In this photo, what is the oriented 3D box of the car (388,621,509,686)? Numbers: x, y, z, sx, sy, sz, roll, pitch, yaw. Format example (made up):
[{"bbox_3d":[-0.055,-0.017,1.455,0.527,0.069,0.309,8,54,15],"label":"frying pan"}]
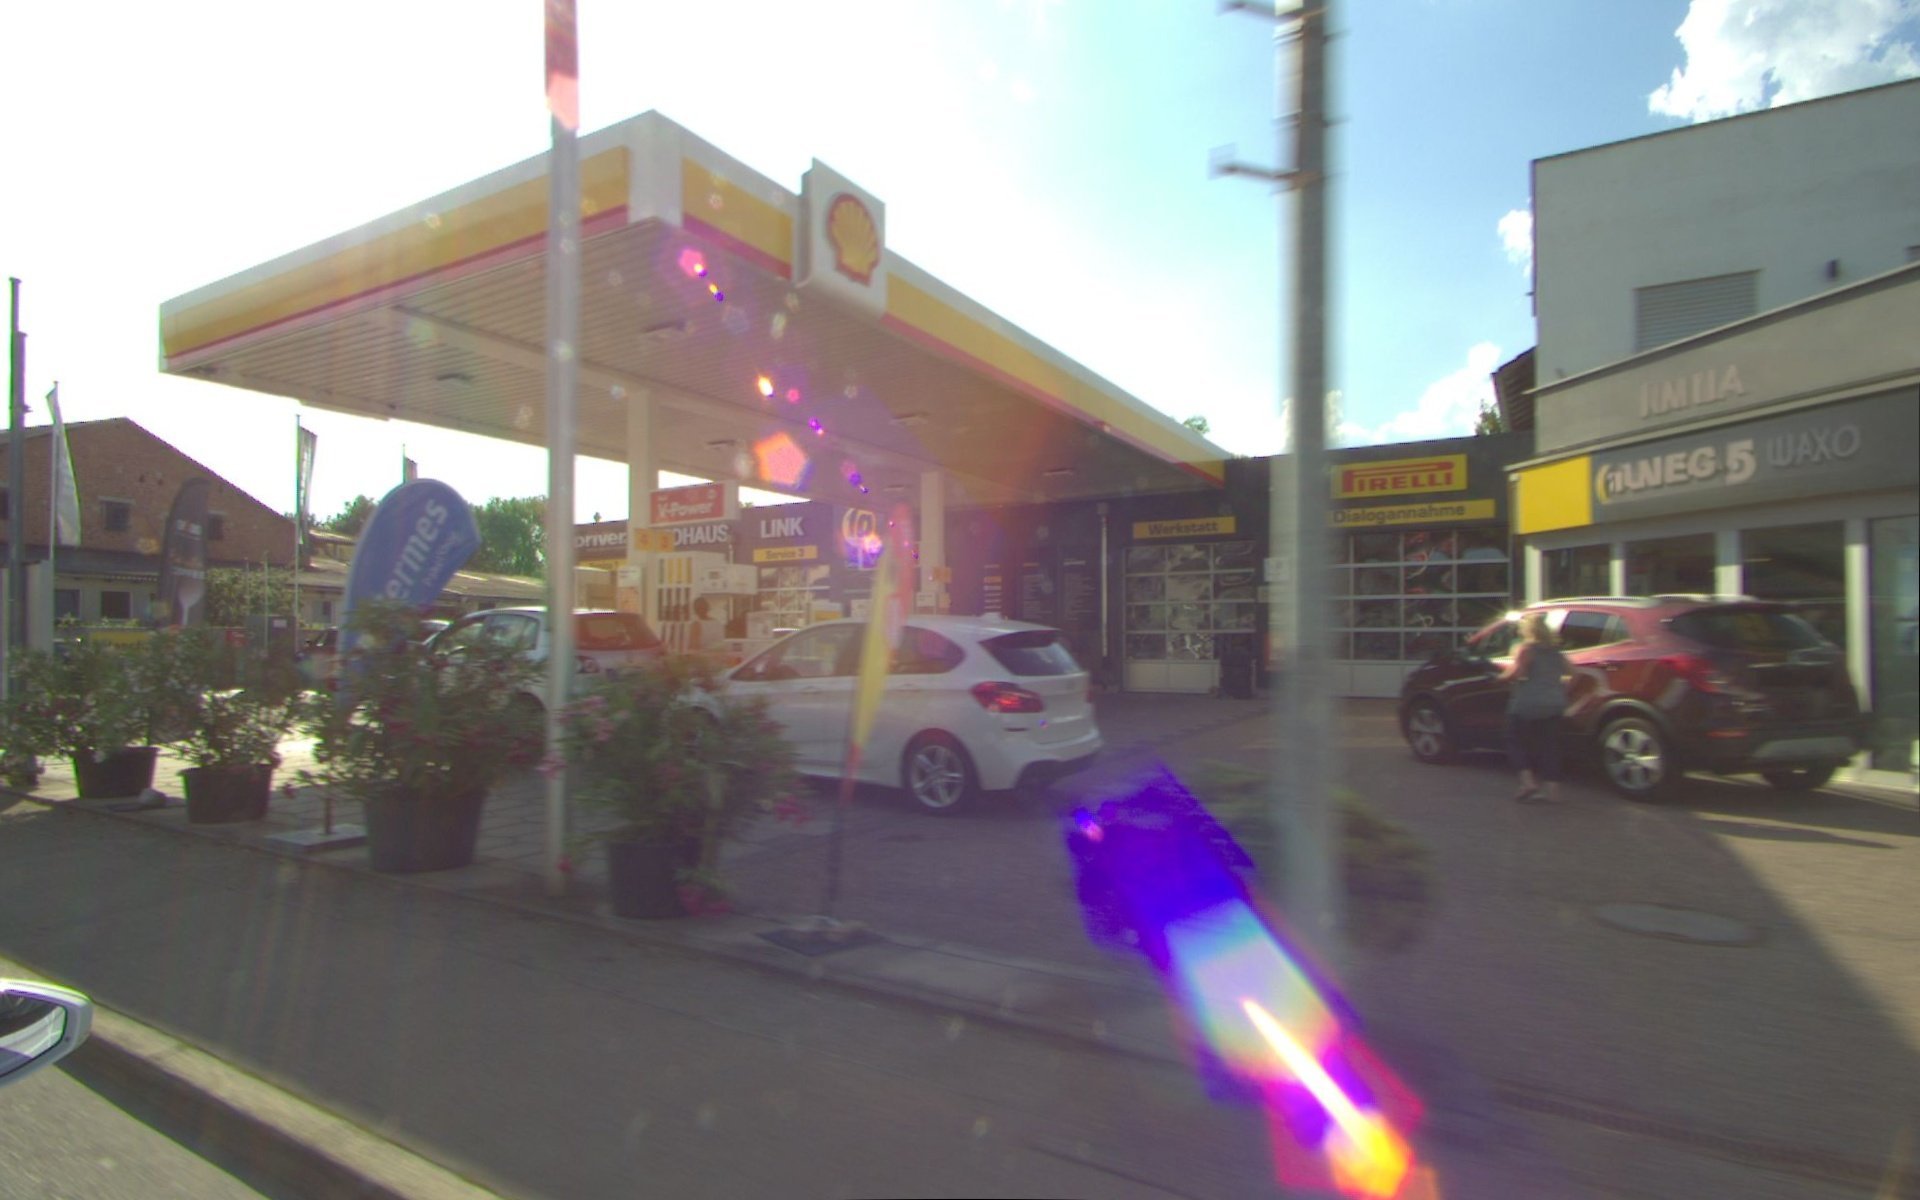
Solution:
[{"bbox_3d":[-16.682,1.672,32.563,4.490,1.948,1.574,0,-1,35],"label":"car"}]

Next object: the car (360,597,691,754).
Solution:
[{"bbox_3d":[-5.231,0.809,11.930,3.941,1.597,1.669,-1,-2,32],"label":"car"}]

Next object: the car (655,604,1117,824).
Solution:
[{"bbox_3d":[-0.739,0.874,9.021,3.941,1.597,1.669,-1,-2,32],"label":"car"}]

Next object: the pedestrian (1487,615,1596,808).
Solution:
[{"bbox_3d":[4.674,0.880,8.066,0.613,1.498,0.431,0,-1,-11],"label":"pedestrian"}]

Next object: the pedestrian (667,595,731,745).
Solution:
[{"bbox_3d":[-3.031,0.801,11.651,0.526,1.691,0.500,-1,-2,32],"label":"pedestrian"}]

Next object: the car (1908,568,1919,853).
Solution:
[{"bbox_3d":[6.870,0.612,4.159,1.646,1.696,4.075,-1,-1,-10],"label":"car"}]

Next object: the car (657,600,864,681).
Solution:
[{"bbox_3d":[-3.913,0.820,19.403,3.942,1.418,1.535,-3,-3,32],"label":"car"}]

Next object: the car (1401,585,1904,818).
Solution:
[{"bbox_3d":[5.920,0.793,9.169,1.646,1.654,3.686,-1,-2,-10],"label":"car"}]

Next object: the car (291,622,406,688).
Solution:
[{"bbox_3d":[-18.124,1.582,29.636,3.582,1.815,1.574,0,-1,35],"label":"car"}]

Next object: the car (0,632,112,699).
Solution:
[{"bbox_3d":[-21.794,1.490,23.465,4.316,1.445,1.577,-1,-3,30],"label":"car"}]
